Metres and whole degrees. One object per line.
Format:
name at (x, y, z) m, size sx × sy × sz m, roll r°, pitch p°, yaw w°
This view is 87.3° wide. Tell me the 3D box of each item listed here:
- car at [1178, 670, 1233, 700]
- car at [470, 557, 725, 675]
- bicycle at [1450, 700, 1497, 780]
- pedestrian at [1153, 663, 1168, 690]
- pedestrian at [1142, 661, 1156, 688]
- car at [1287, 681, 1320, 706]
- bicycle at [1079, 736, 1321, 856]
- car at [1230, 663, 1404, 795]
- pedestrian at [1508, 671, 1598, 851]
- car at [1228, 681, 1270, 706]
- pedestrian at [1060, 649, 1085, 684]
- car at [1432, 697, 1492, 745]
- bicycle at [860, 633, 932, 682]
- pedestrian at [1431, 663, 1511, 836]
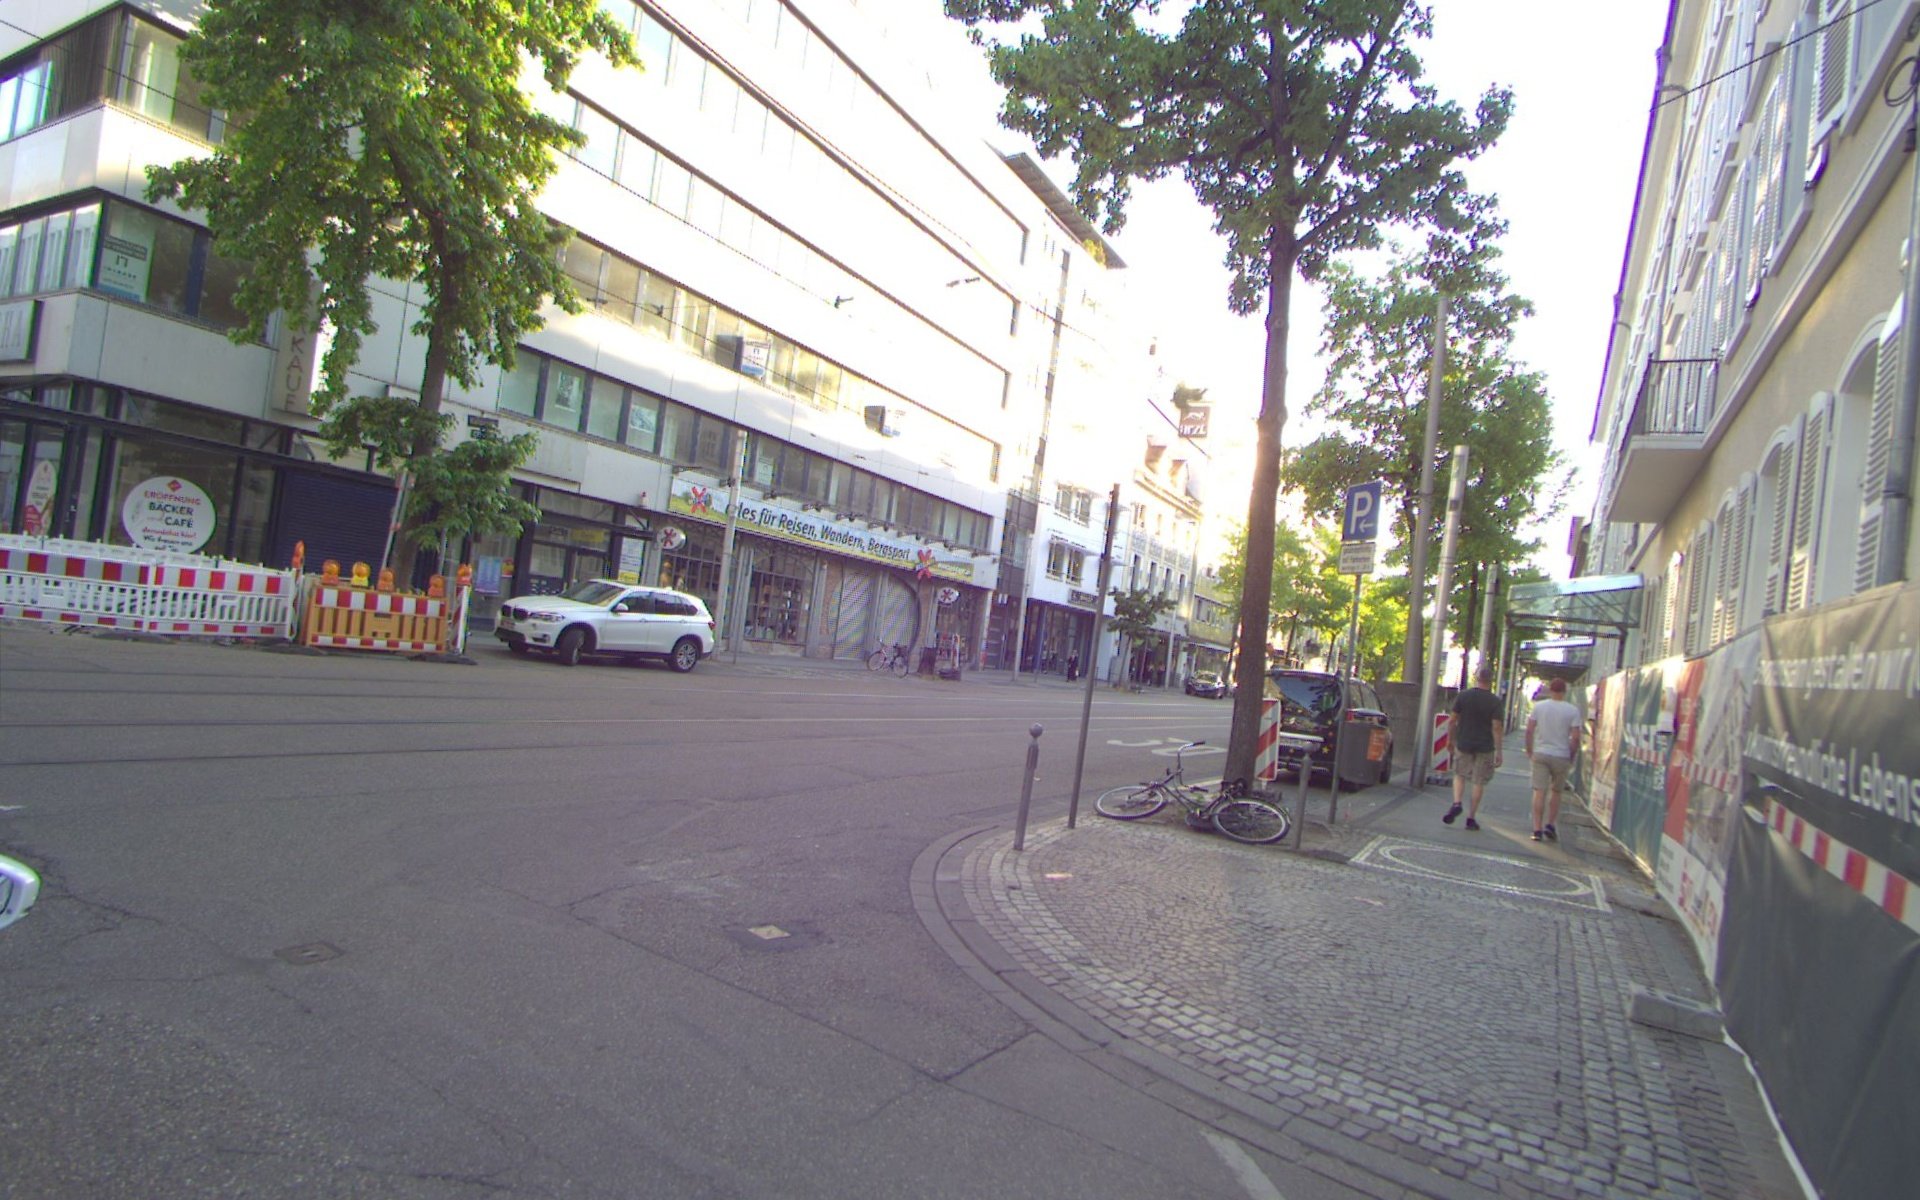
car at (14.620, 5.067, 59.765) m, size 1.970 × 1.378 × 4.101 m, roll 8°, pitch -1°, yaw 30°
car at (-7.457, 0.418, 21.198) m, size 1.967 × 1.791 × 4.664 m, roll 9°, pitch -1°, yaw 32°
bicycle at (11.119, 3.002, 21.734) m, size 0.692 × 1.568 × 2.182 m, roll 5°, pitch -3°, yaw 30°
pedestrian at (12.302, 4.707, 61.784) m, size 0.470 × 1.575 × 0.747 m, roll 7°, pitch 0°, yaw 31°
pedestrian at (11.688, 4.611, 62.149) m, size 0.470 × 1.566 × 0.747 m, roll 7°, pitch 0°, yaw 31°
car at (28.332, 7.736, 82.948) m, size 1.870 × 1.712 × 4.103 m, roll 6°, pitch -2°, yaw 28°
bicycle at (2.370, 1.856, 9.848) m, size 2.040 × 0.714 × 1.331 m, roll 6°, pitch -3°, yaw 25°
car at (6.060, 2.115, 16.797) m, size 1.746 × 1.784 × 3.870 m, roll 3°, pitch -4°, yaw 34°
pedestrian at (6.808, 1.811, 11.558) m, size 0.747 × 1.906 × 0.878 m, roll 4°, pitch -2°, yaw 31°
car at (19.594, 6.367, 68.029) m, size 1.710 × 1.334 × 4.102 m, roll 9°, pitch -1°, yaw 29°
pedestrian at (5.484, 3.224, 48.991) m, size 0.718 × 1.577 × 0.837 m, roll 7°, pitch 0°, yaw 33°
car at (22.182, 5.325, 44.401) m, size 1.966 × 1.757 × 4.101 m, roll 6°, pitch -2°, yaw 30°
bicycle at (-2.021, 1.809, 31.606) m, size 2.132 × 1.173 × 0.759 m, roll 9°, pitch 1°, yaw 37°
pedestrian at (6.056, 1.744, 11.917) m, size 0.669 × 1.906 × 0.768 m, roll 4°, pitch -2°, yaw 31°
